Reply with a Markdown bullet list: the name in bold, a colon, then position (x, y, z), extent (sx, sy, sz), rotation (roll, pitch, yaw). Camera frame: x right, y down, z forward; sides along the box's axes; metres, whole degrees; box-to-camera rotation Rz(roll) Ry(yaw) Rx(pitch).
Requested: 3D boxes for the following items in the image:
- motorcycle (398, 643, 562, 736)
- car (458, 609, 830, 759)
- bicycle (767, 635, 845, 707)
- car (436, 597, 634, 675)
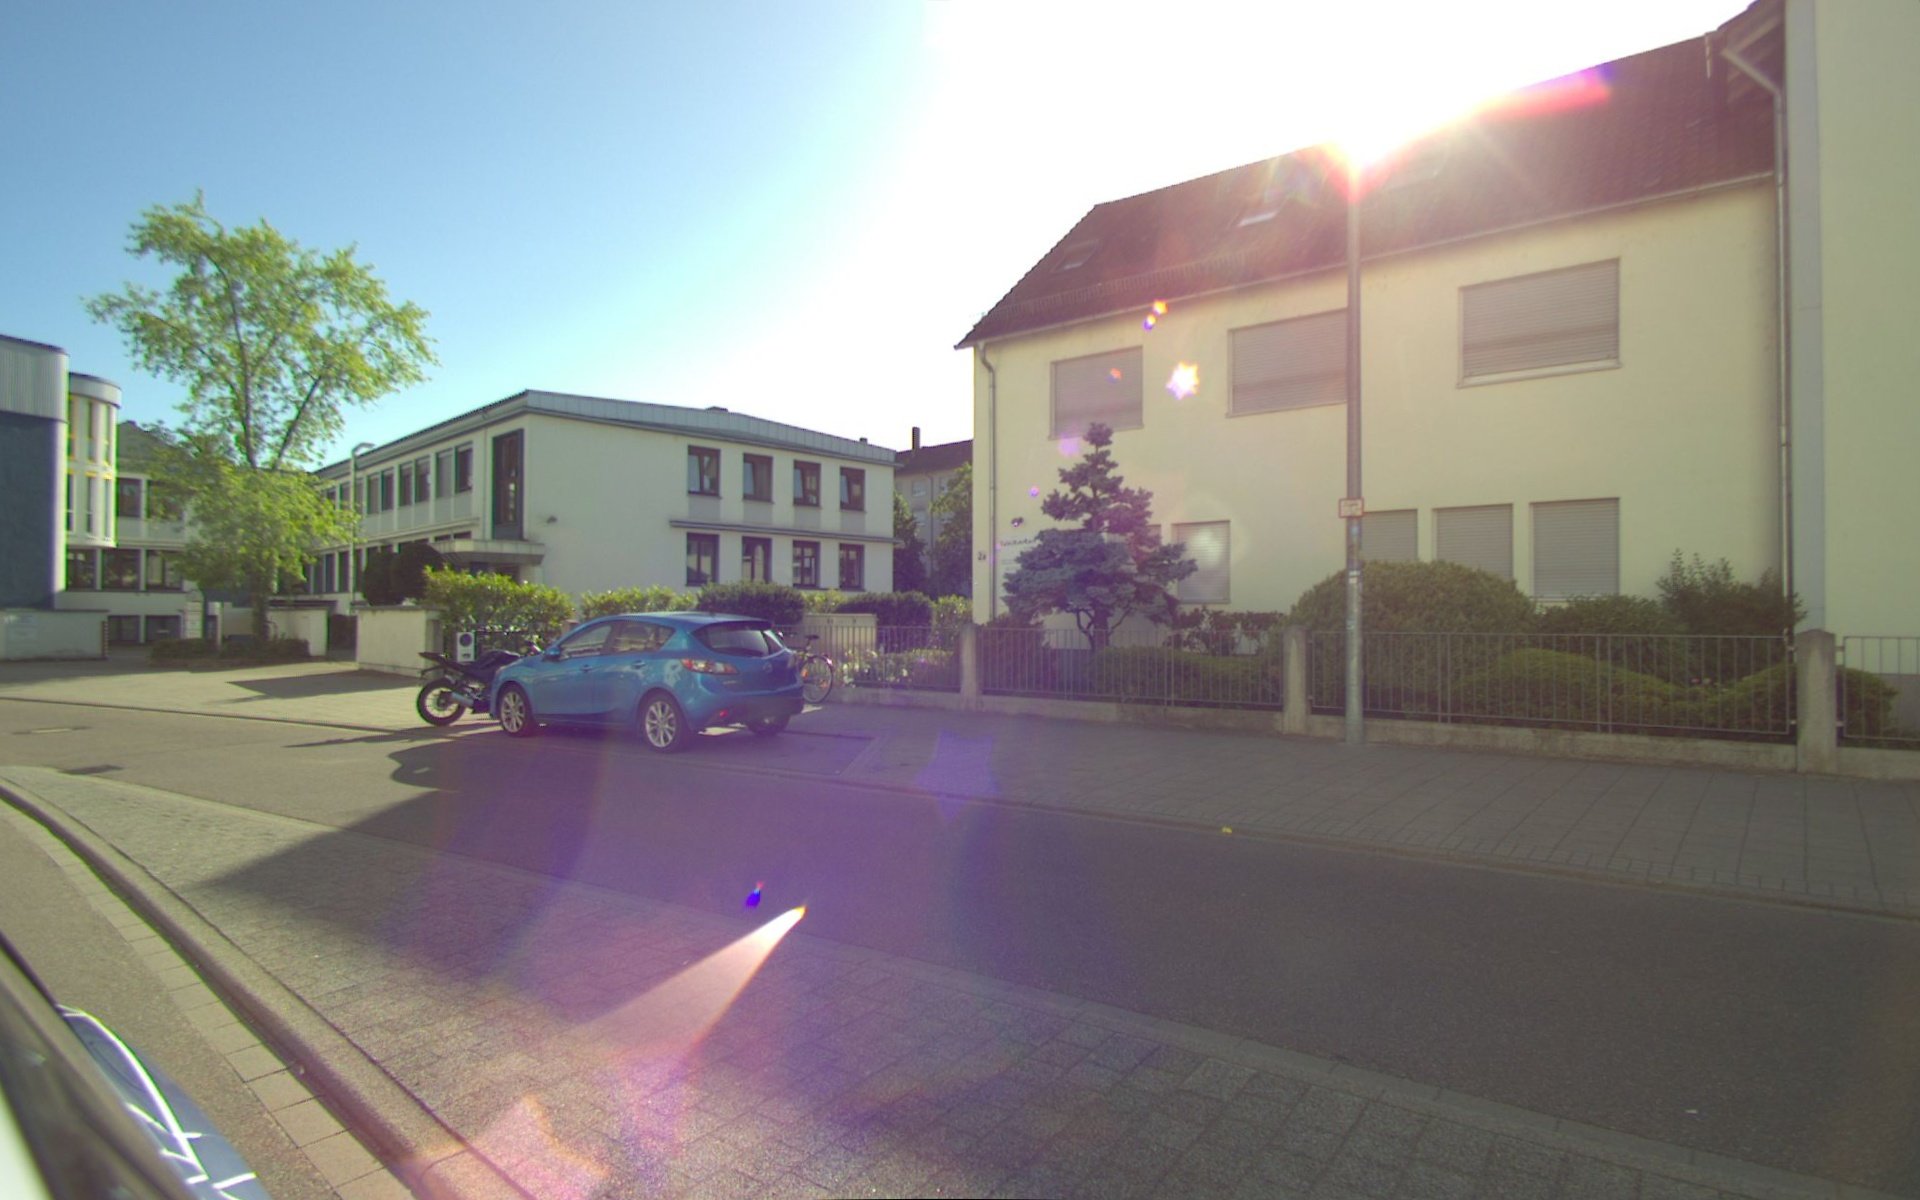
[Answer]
- **motorcycle**: position (-6.422, 1.167, 13.588), extent (1.930, 1.103, 0.592), rotation (-1, -1, -28)
- **car**: position (-3.823, 0.879, 11.974), extent (4.402, 1.445, 1.864), rotation (-1, -1, 34)
- **bicycle**: position (-2.298, 1.034, 15.043), extent (1.260, 1.023, 0.342), rotation (-1, -2, 35)
- **car**: position (-10.237, 0.856, 24.575), extent (2.000, 1.729, 3.944), rotation (-1, -2, 42)
